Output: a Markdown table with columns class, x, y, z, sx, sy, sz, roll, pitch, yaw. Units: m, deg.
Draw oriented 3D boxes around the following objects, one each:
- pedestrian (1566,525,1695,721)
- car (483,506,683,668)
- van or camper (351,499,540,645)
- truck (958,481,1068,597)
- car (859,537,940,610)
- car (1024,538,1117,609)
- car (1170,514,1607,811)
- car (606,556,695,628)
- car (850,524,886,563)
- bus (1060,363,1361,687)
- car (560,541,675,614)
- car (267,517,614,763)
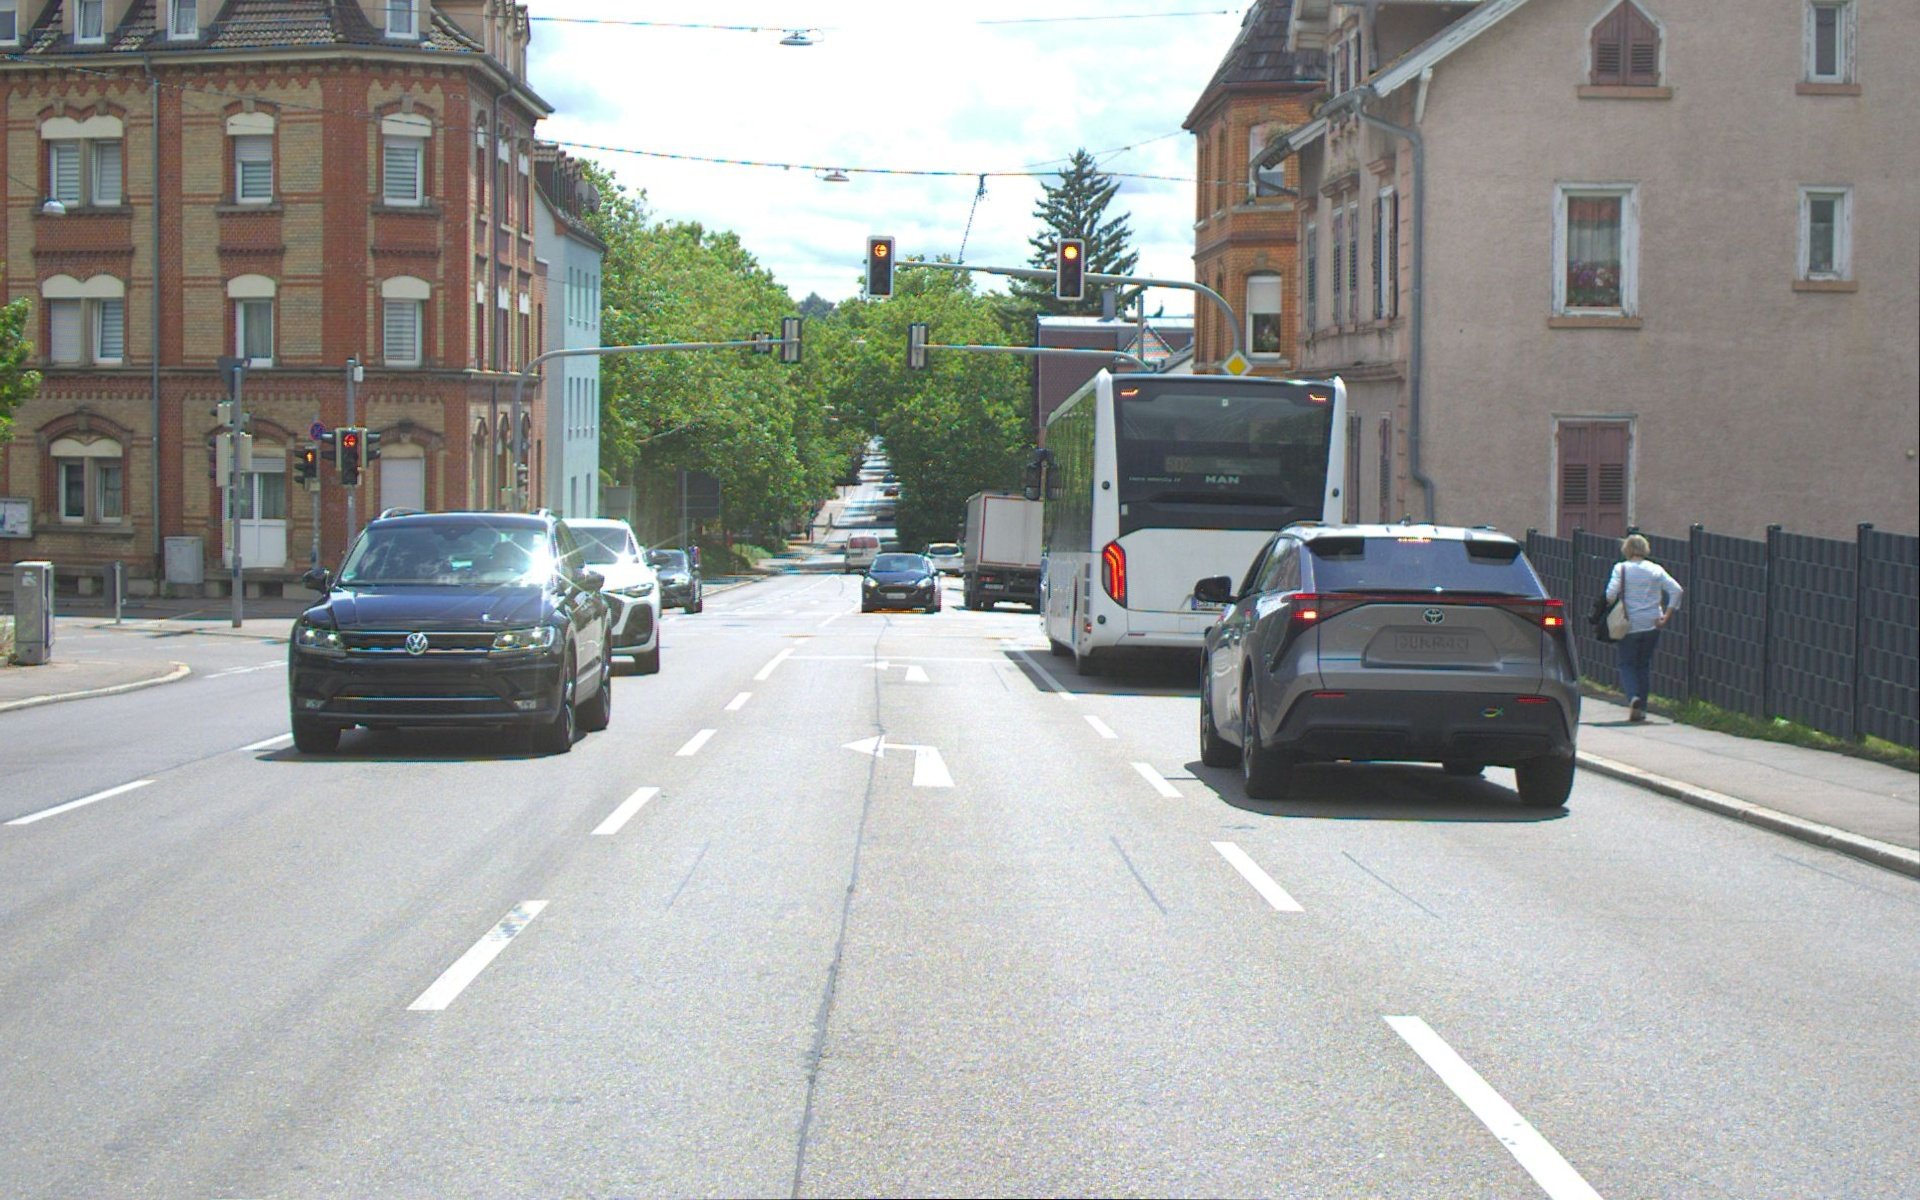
| class | x | y | z | sx | sy | sz | roll | pitch | yaw |
| --- | --- | --- | --- | --- | --- | --- | --- | --- | --- |
| pedestrian | 5.561 | 0.177 | 28.557 | 0.813 | 1.576 | 1.070 | -2 | 1 | -1 |
| car | -4.046 | -0.183 | 37.482 | 1.864 | 1.650 | 4.379 | 1 | 1 | -2 |
| van or camper | -7.110 | -0.431 | 47.991 | 1.970 | 1.908 | 5.129 | 1 | 1 | -1 |
| truck | 1.437 | -1.747 | 97.453 | 2.666 | 3.097 | 9.036 | -1 | 1 | -2 |
| car | -1.461 | -0.651 | 81.807 | 1.864 | 1.660 | 4.260 | 0 | 1 | -1 |
| car | 2.528 | -0.640 | 79.783 | 1.930 | 1.577 | 4.208 | -1 | 1 | -1 |
| car | 2.458 | 0.288 | 20.781 | 1.930 | 1.577 | 4.209 | 0 | 2 | -2 |
| car | -7.450 | -0.215 | 83.156 | 1.864 | 1.660 | 4.260 | 0 | 1 | -1 |
| car | -4.714 | -2.891 | 175.620 | 1.832 | 1.875 | 4.001 | 0 | 2 | -2 |
| bus | 2.659 | -0.974 | 40.192 | 2.802 | 3.187 | 12.196 | 1 | 2 | 1 |
| car | -6.501 | -0.453 | 65.638 | 1.864 | 1.315 | 4.260 | 0 | 1 | -1 |
| car | -3.491 | 0.205 | 23.776 | 1.864 | 1.535 | 4.107 | 1 | 1 | -1 |
